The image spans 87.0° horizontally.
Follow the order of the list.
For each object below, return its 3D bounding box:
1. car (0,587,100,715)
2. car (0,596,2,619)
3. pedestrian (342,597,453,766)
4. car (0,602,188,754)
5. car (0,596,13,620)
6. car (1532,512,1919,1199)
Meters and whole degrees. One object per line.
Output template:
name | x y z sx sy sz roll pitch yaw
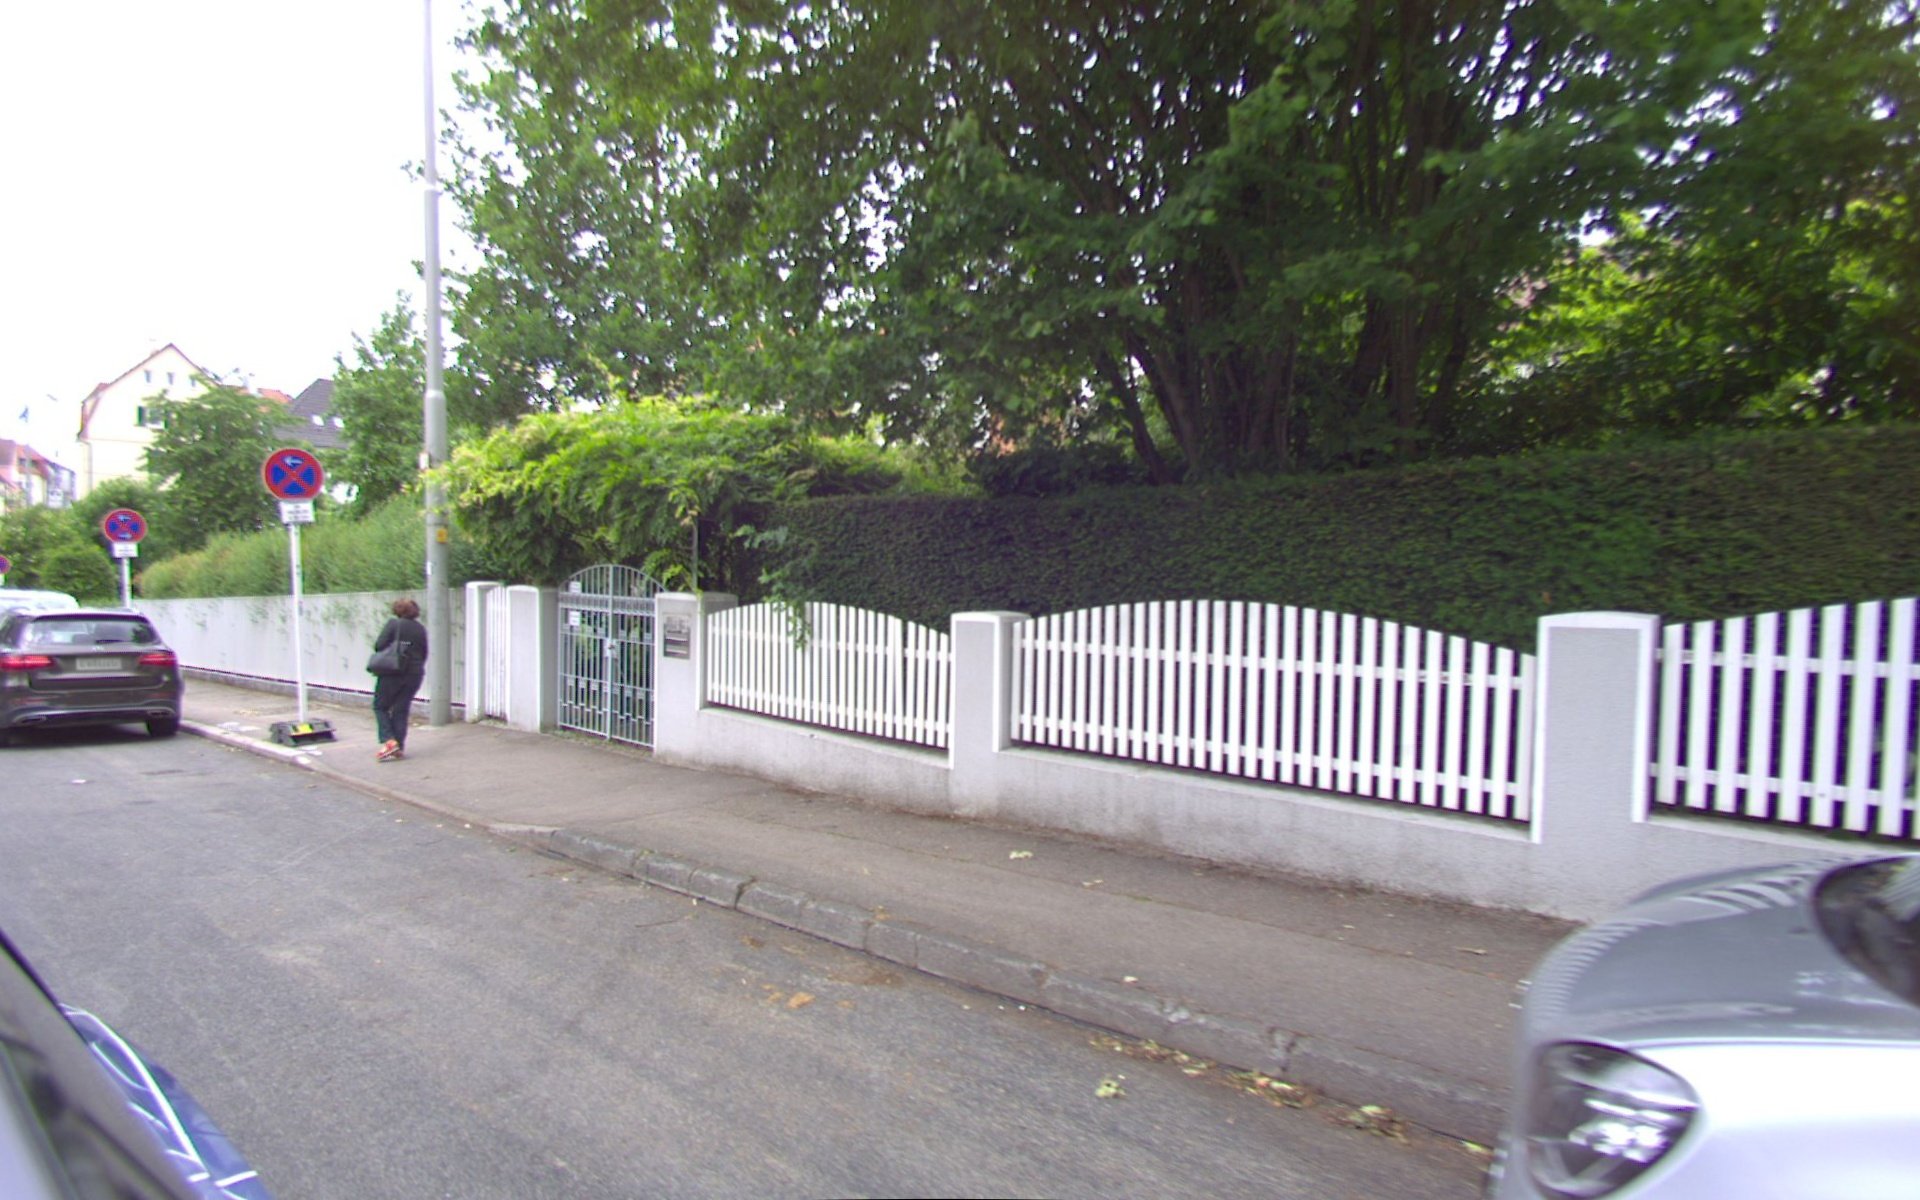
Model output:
car | -16.014 0.804 16.904 4.618 1.928 1.835 -1 -3 42
car | -63.964 0.573 65.981 1.779 1.491 4.338 1 2 -38
pedestrian | -5.593 0.780 10.068 0.797 1.557 0.602 -1 4 41
car | -11.592 0.902 12.947 4.338 1.635 1.773 -2 -2 39
car | -67.727 0.533 70.876 1.617 1.439 4.133 2 2 -38
car | 2.317 0.685 0.873 2.958 1.545 1.606 -2 -3 38
